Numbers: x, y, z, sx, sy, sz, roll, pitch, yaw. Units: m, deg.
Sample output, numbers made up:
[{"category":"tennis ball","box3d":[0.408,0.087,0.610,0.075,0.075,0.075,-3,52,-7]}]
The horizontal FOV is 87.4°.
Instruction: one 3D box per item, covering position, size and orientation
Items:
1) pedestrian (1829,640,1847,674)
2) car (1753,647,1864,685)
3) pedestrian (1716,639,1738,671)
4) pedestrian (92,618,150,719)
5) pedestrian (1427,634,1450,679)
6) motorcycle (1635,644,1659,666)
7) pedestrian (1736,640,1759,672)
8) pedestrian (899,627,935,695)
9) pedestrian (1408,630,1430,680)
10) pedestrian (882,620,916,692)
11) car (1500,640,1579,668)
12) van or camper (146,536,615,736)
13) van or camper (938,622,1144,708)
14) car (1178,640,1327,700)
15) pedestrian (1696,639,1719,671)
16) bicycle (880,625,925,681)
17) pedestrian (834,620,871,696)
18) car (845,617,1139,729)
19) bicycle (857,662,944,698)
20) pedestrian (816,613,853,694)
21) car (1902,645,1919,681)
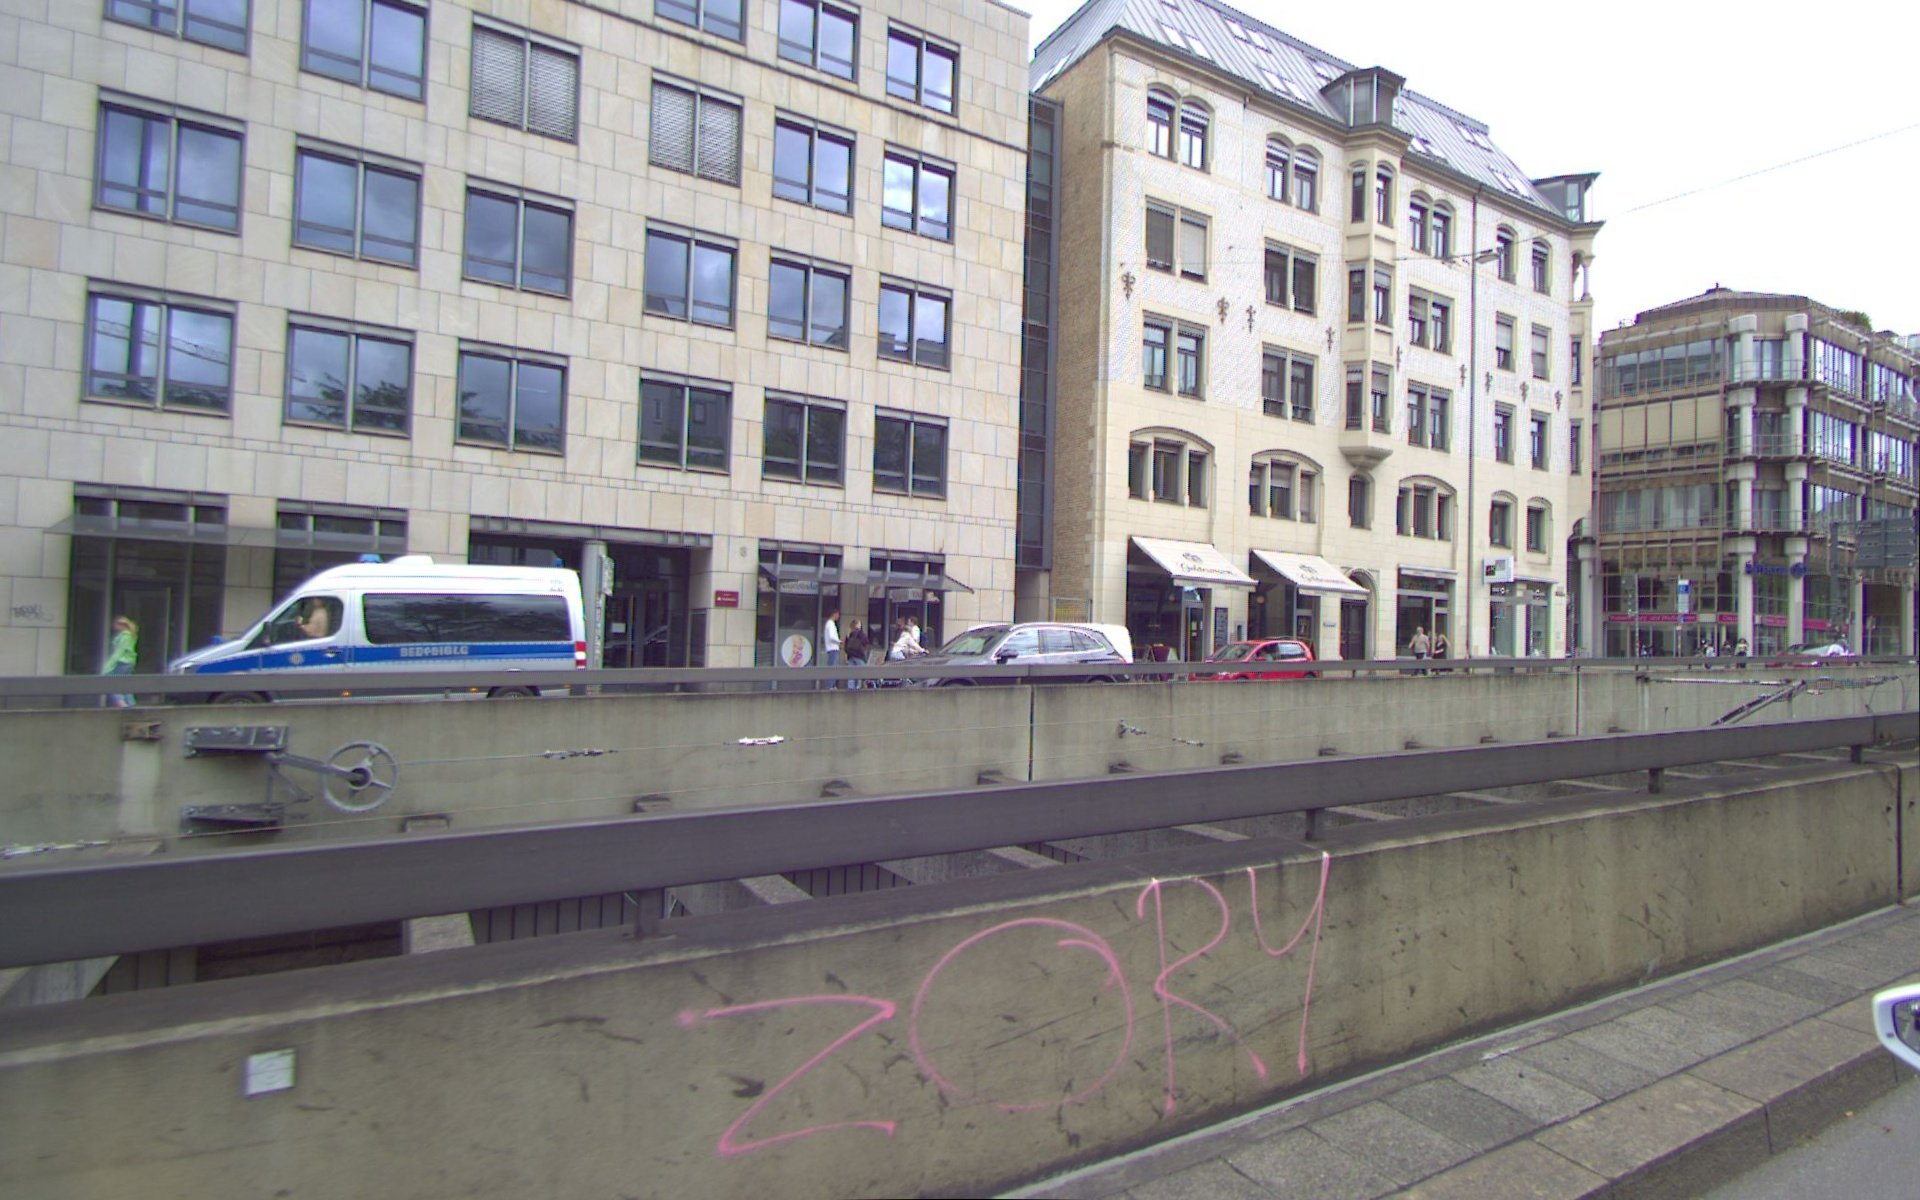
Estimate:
[{"category":"pedestrian","box3d":[48.230,3.111,55.177,0.686,1.817,0.530,2,0,-29]},{"category":"car","box3d":[35.535,2.713,42.046,4.827,1.484,1.985,1,-2,-29]},{"category":"pedestrian","box3d":[38.495,2.766,50.430,0.839,1.564,0.695,2,-2,-37]},{"category":"pedestrian","box3d":[-13.985,1.135,16.754,0.620,1.645,0.497,1,-2,-30]},{"category":"pedestrian","box3d":[16.783,1.991,35.241,0.577,1.558,0.477,1,-2,-31]},{"category":"motorcycle","box3d":[41.279,3.276,60.383,1.924,1.273,0.784,2,-2,-43]},{"category":"pedestrian","box3d":[39.084,2.749,49.831,0.839,1.564,0.695,2,-2,-37]},{"category":"pedestrian","box3d":[-1.042,1.458,24.262,0.672,1.597,0.549,1,-2,-31]},{"category":"pedestrian","box3d":[16.375,1.949,35.831,0.576,1.780,0.477,1,-2,-30]},{"category":"pedestrian","box3d":[-1.533,1.390,25.125,0.672,1.776,0.549,1,-2,-31]},{"category":"car","box3d":[31.790,2.927,55.208,1.630,1.455,3.429,1,-2,-30]},{"category":"van or camper","box3d":[-9.232,0.602,16.695,6.172,2.762,2.988,2,-2,-30]},{"category":"van or camper","box3d":[1.872,1.413,22.725,4.436,1.775,1.858,2,-2,-31]},{"category":"car","box3d":[7.555,1.757,25.901,3.543,1.424,1.778,2,-2,-32]},{"category":"pedestrian","box3d":[38.037,2.791,51.110,0.839,1.564,0.695,2,-2,-37]},{"category":"bicycle","box3d":[-1.320,1.217,23.219,0.836,1.277,0.628,1,-2,-33]},{"category":"pedestrian","box3d":[-2.513,1.351,23.540,0.672,1.740,0.552,1,-1,-30]},{"category":"car","box3d":[0.590,1.089,16.073,4.498,1.547,1.905,2,-2,-36]},{"category":"bicycle","box3d":[-1.363,1.837,23.171,1.938,0.772,0.628,2,-2,-34]},{"category":"pedestrian","box3d":[-3.022,1.274,24.134,0.672,1.899,0.613,1,-2,-31]},{"category":"car","box3d":[44.870,2.851,45.334,4.825,1.606,1.986,1,-2,-28]}]
